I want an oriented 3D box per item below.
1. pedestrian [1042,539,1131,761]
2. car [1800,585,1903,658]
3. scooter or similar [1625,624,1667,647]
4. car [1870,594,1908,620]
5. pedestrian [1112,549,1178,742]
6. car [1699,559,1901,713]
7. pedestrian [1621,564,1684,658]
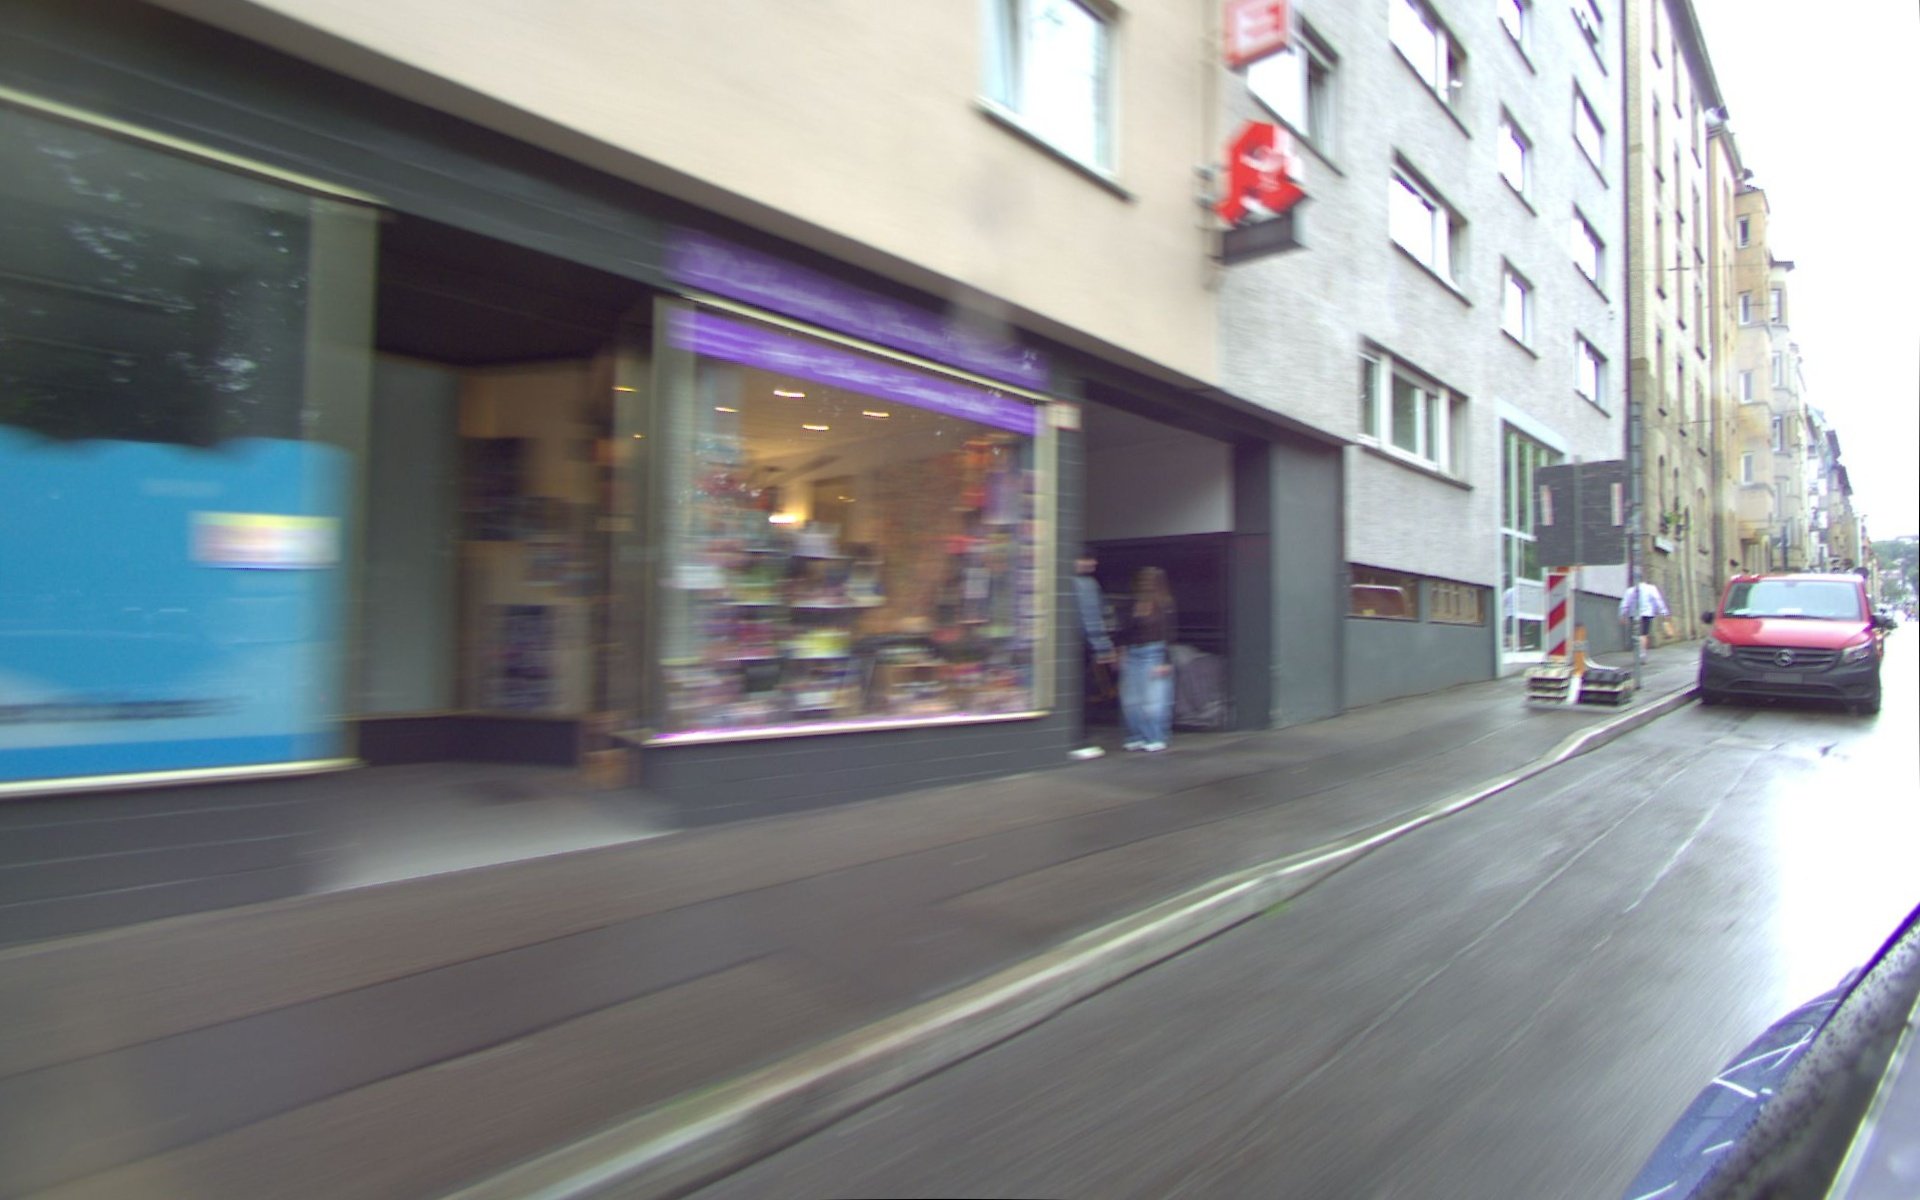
[{"bbox_3d":[1.038,0.390,8.302,0.507,1.742,0.462,-1,-1,-38],"label":"pedestrian"},{"bbox_3d":[22.949,0.522,25.996,1.766,1.730,4.427,-1,-1,44],"label":"car"},{"bbox_3d":[16.306,0.844,24.080,0.252,0.513,0.863,0,0,-16],"label":"scooter or similar"},{"bbox_3d":[58.931,0.475,64.203,1.740,1.606,3.938,0,-1,42],"label":"car"},{"bbox_3d":[1.647,0.400,9.018,0.478,1.666,0.328,-2,-2,29],"label":"pedestrian"},{"bbox_3d":[12.348,0.421,14.850,1.973,1.861,5.167,0,0,41],"label":"car"},{"bbox_3d":[13.542,0.217,19.787,0.851,1.780,0.824,-2,-2,44],"label":"pedestrian"}]
